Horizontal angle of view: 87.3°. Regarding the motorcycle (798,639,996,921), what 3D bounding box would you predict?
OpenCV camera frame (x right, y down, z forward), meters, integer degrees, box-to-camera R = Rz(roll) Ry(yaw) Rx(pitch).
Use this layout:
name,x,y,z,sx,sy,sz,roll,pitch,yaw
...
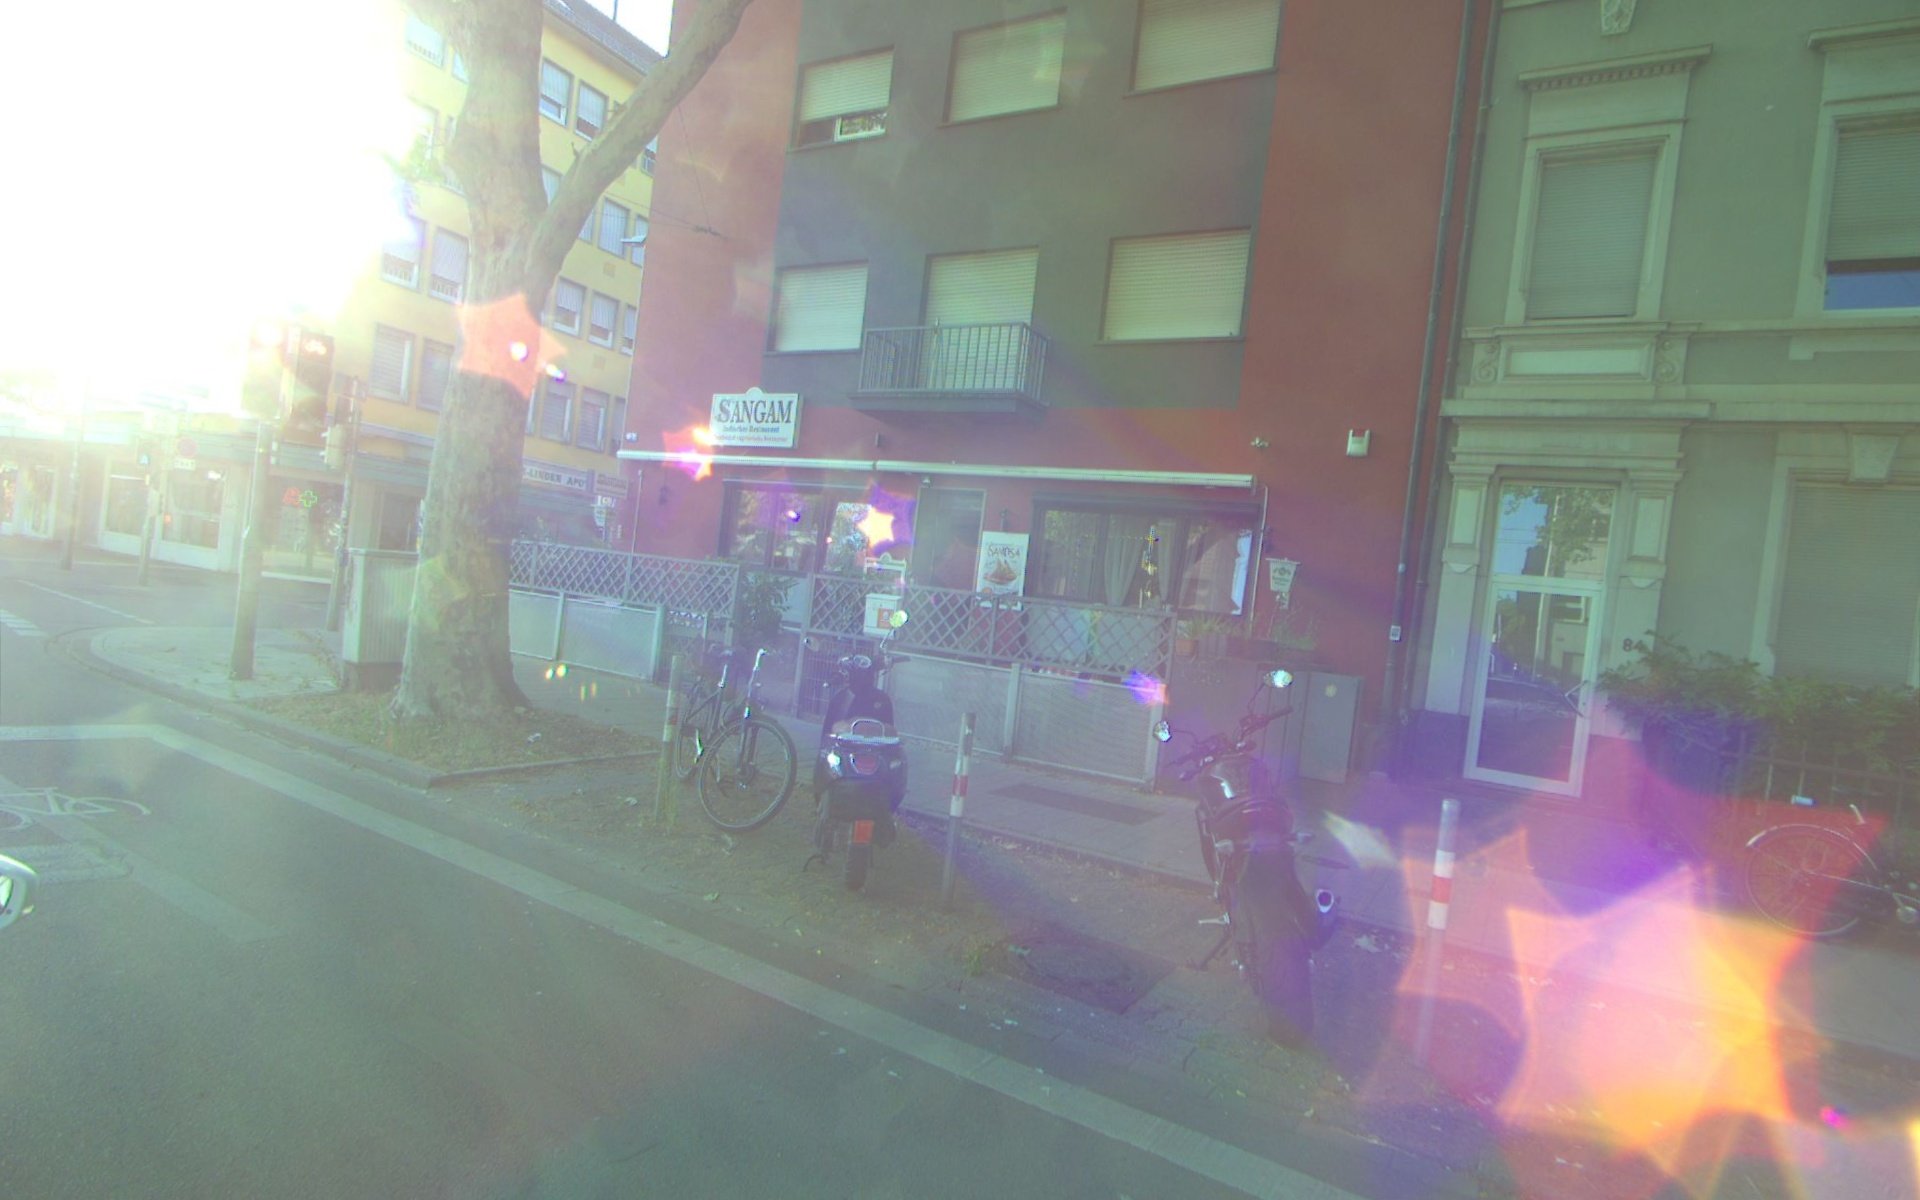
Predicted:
name,x,y,z,sx,sy,sz,roll,pitch,yaw
motorcycle,-0.444,0.911,5.732,0.772,1.126,1.885,6,2,-11

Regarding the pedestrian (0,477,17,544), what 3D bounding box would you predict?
name,x,y,z,sx,sy,sz,roll,pitch,yaw
pedestrian,-26.817,-2.513,27.811,0.880,1.802,0.744,6,0,31

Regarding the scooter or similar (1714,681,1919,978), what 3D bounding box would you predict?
name,x,y,z,sx,sy,sz,roll,pitch,yaw
scooter or similar,5.763,1.354,5.435,2.502,1.488,0.665,7,1,32

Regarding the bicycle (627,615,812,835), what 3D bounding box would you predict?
name,x,y,z,sx,sy,sz,roll,pitch,yaw
bicycle,-1.696,0.781,6.854,0.614,1.126,1.784,5,3,-31

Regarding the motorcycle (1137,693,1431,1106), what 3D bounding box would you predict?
name,x,y,z,sx,sy,sz,roll,pitch,yaw
motorcycle,1.318,1.150,4.621,0.651,1.125,2.212,7,2,4
